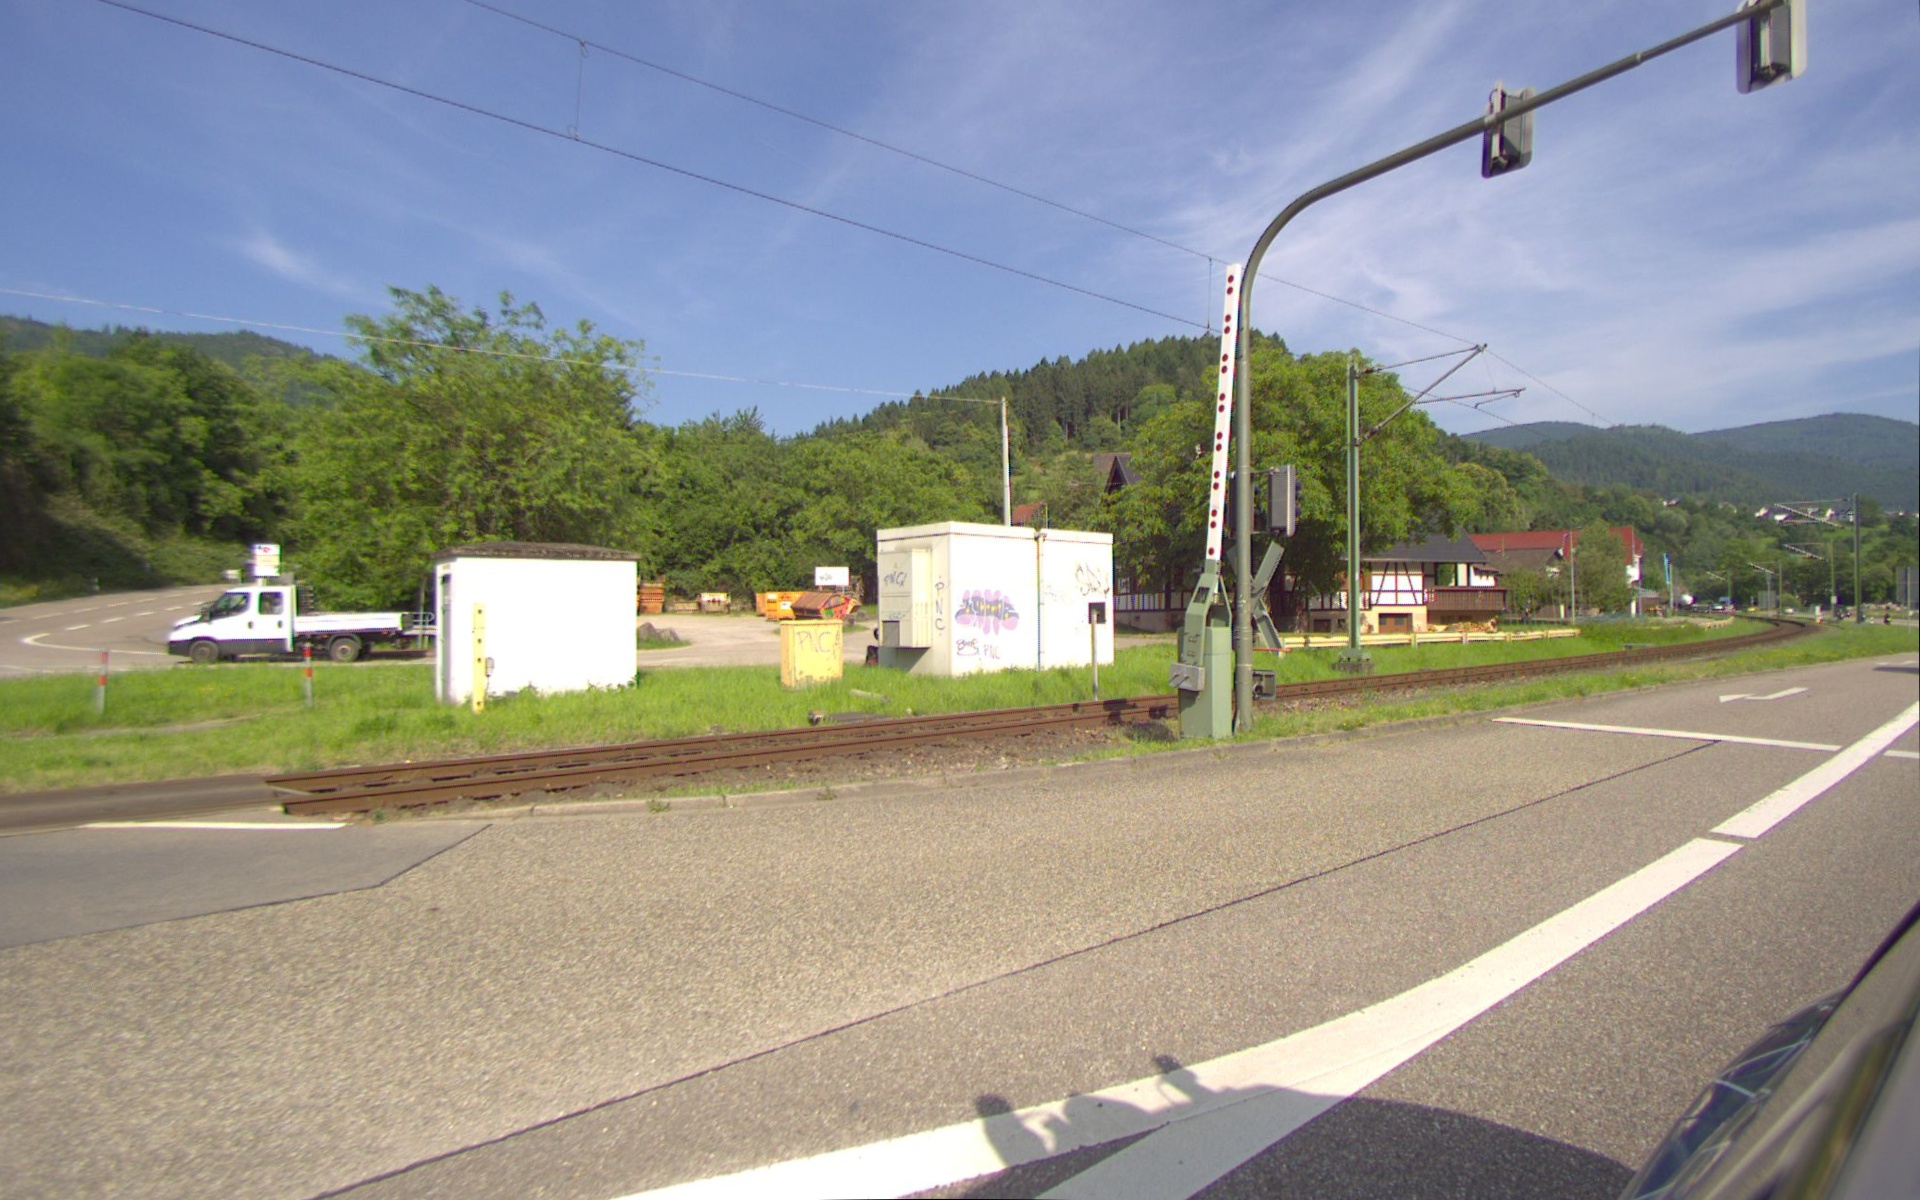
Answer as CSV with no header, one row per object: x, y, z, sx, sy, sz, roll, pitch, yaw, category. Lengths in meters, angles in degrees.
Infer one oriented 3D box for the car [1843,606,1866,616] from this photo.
153.766,1.949,173.996,1.982,1.683,3.959,-2,-1,29,car

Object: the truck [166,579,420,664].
-19.414,0.541,29.848,5.813,2.260,2.413,-1,1,-19,truck
